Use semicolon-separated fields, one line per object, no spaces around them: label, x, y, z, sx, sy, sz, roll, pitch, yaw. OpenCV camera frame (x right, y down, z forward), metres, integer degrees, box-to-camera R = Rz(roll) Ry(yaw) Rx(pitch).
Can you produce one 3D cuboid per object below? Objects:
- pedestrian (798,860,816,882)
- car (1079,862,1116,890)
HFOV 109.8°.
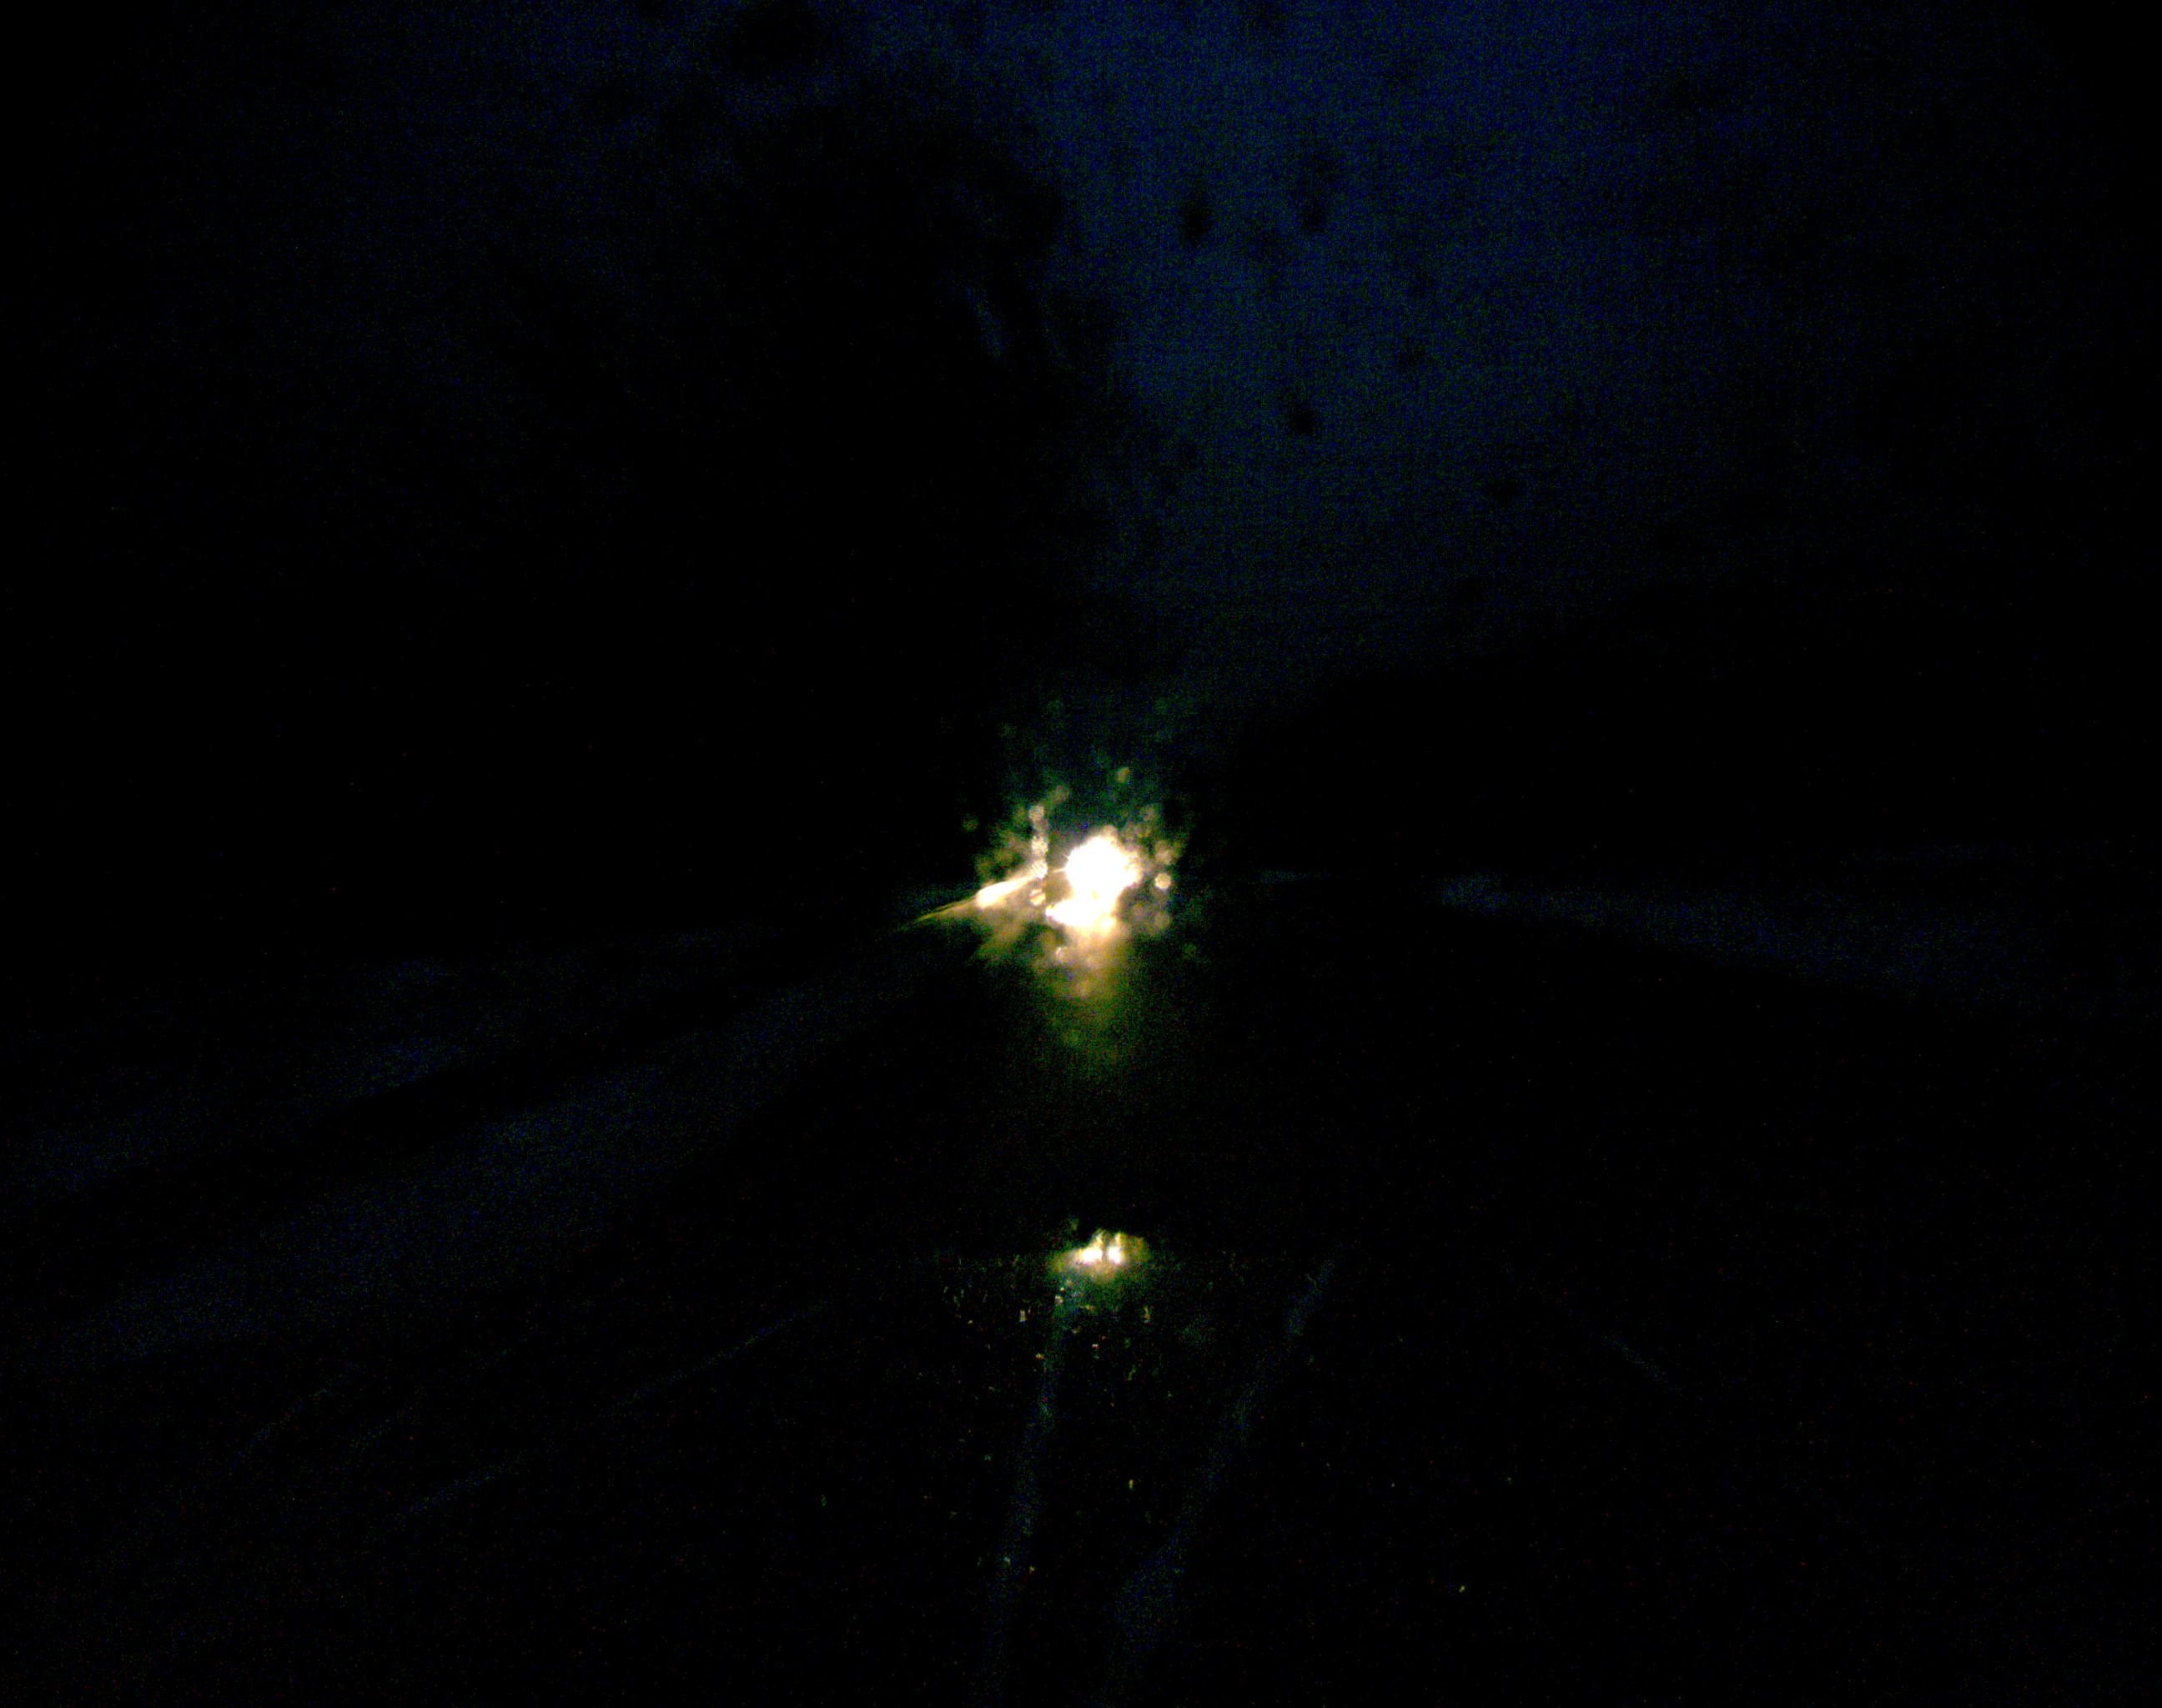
pedestrian;-22.951;1.430;63.601;0.923;1.816;0.965;-3;-2;25
car;0.882;1.227;42.399;1.726;1.425;3.676;-1;-2;-4
